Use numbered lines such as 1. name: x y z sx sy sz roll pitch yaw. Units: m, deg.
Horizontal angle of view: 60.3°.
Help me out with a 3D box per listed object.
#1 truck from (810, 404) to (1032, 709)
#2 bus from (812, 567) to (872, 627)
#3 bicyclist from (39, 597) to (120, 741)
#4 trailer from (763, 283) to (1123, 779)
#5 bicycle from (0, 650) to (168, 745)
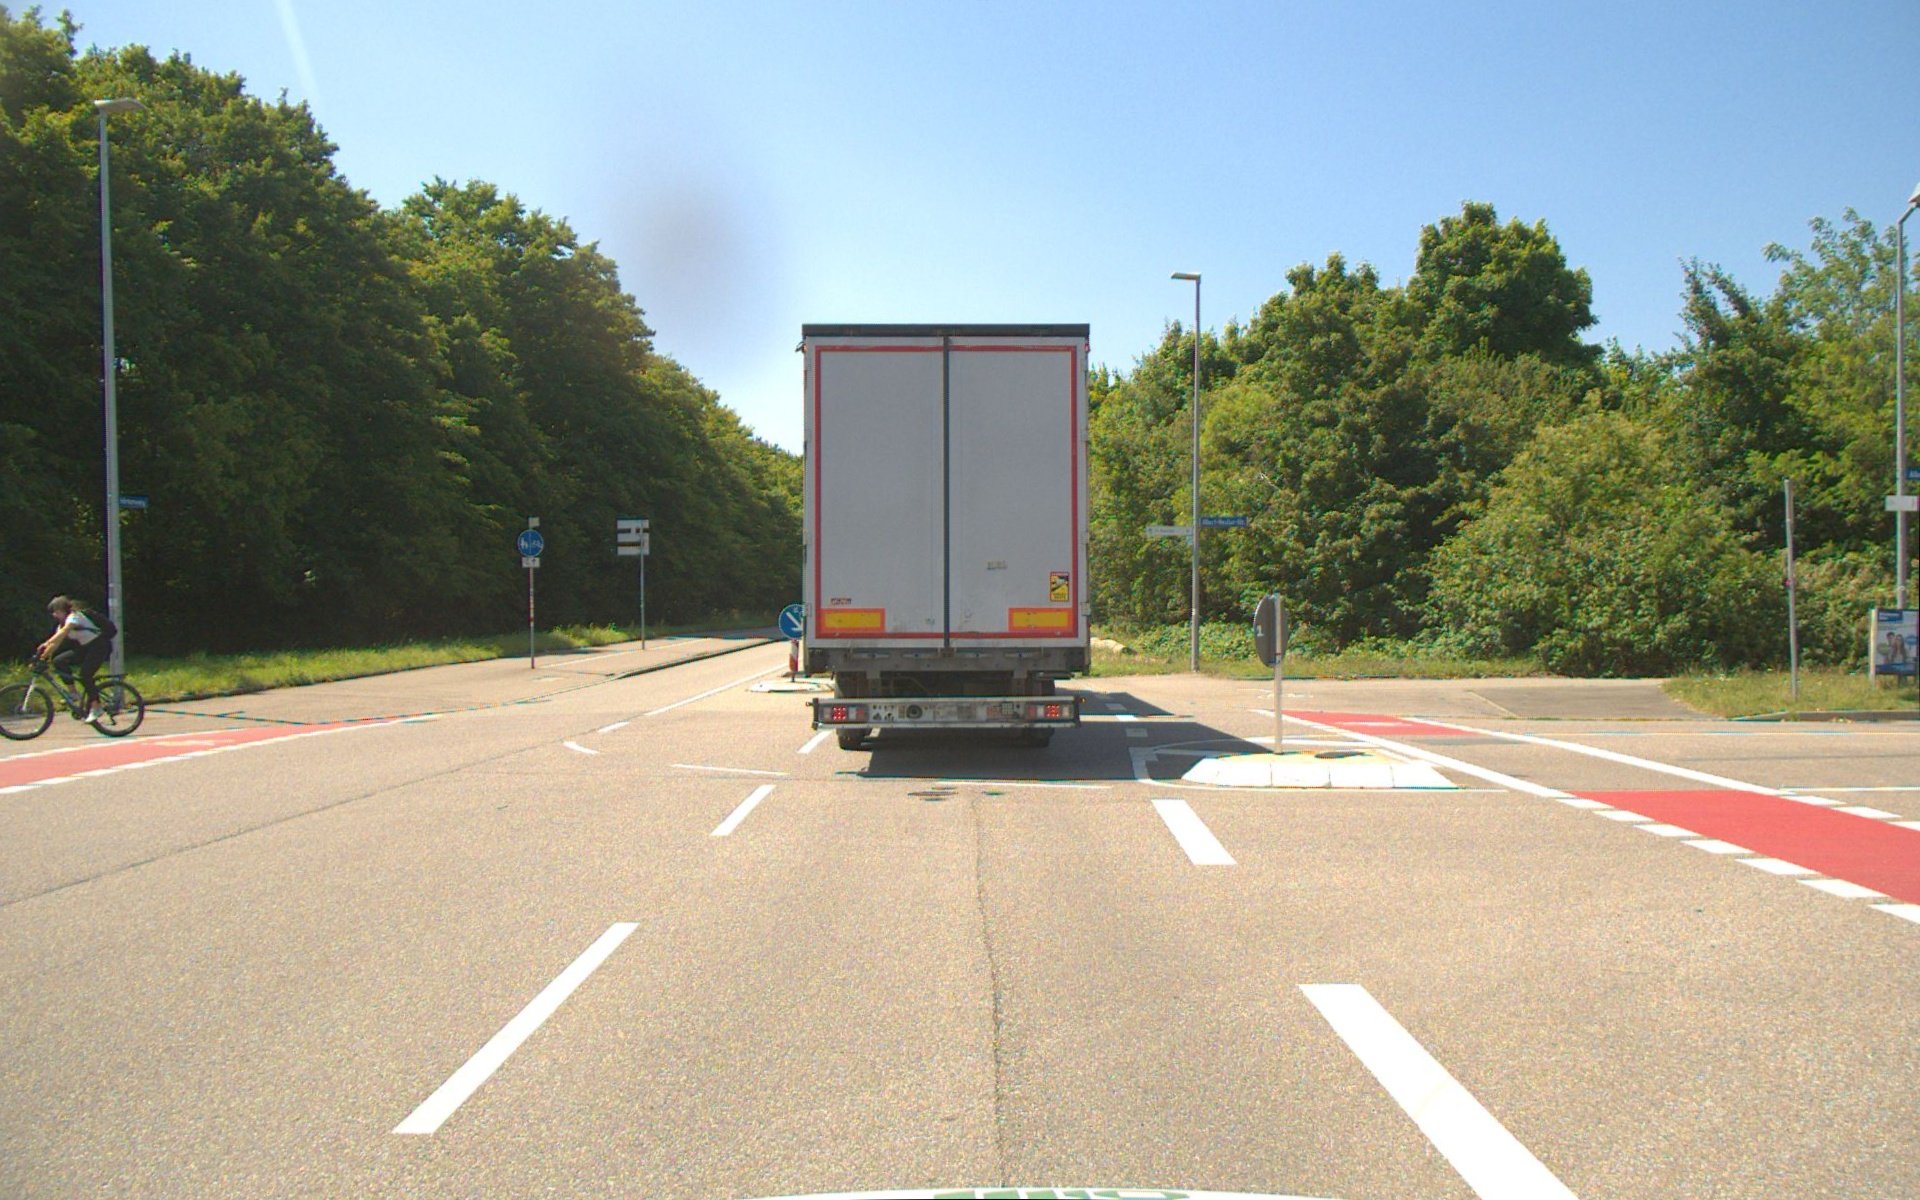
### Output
1. truck: -0.693 -0.593 26.526 3.015 4.141 7.955 0 0 -3
2. bus: -6.661 -0.179 94.546 2.694 3.098 11.935 -3 0 -1
3. bicyclist: -10.919 0.832 20.508 0.762 1.735 0.657 0 0 -41
4. trailer: -0.344 -0.577 18.788 3.015 4.141 9.803 0 0 -3
5. bicycle: -10.977 1.181 20.455 2.027 1.073 0.661 0 0 -42
